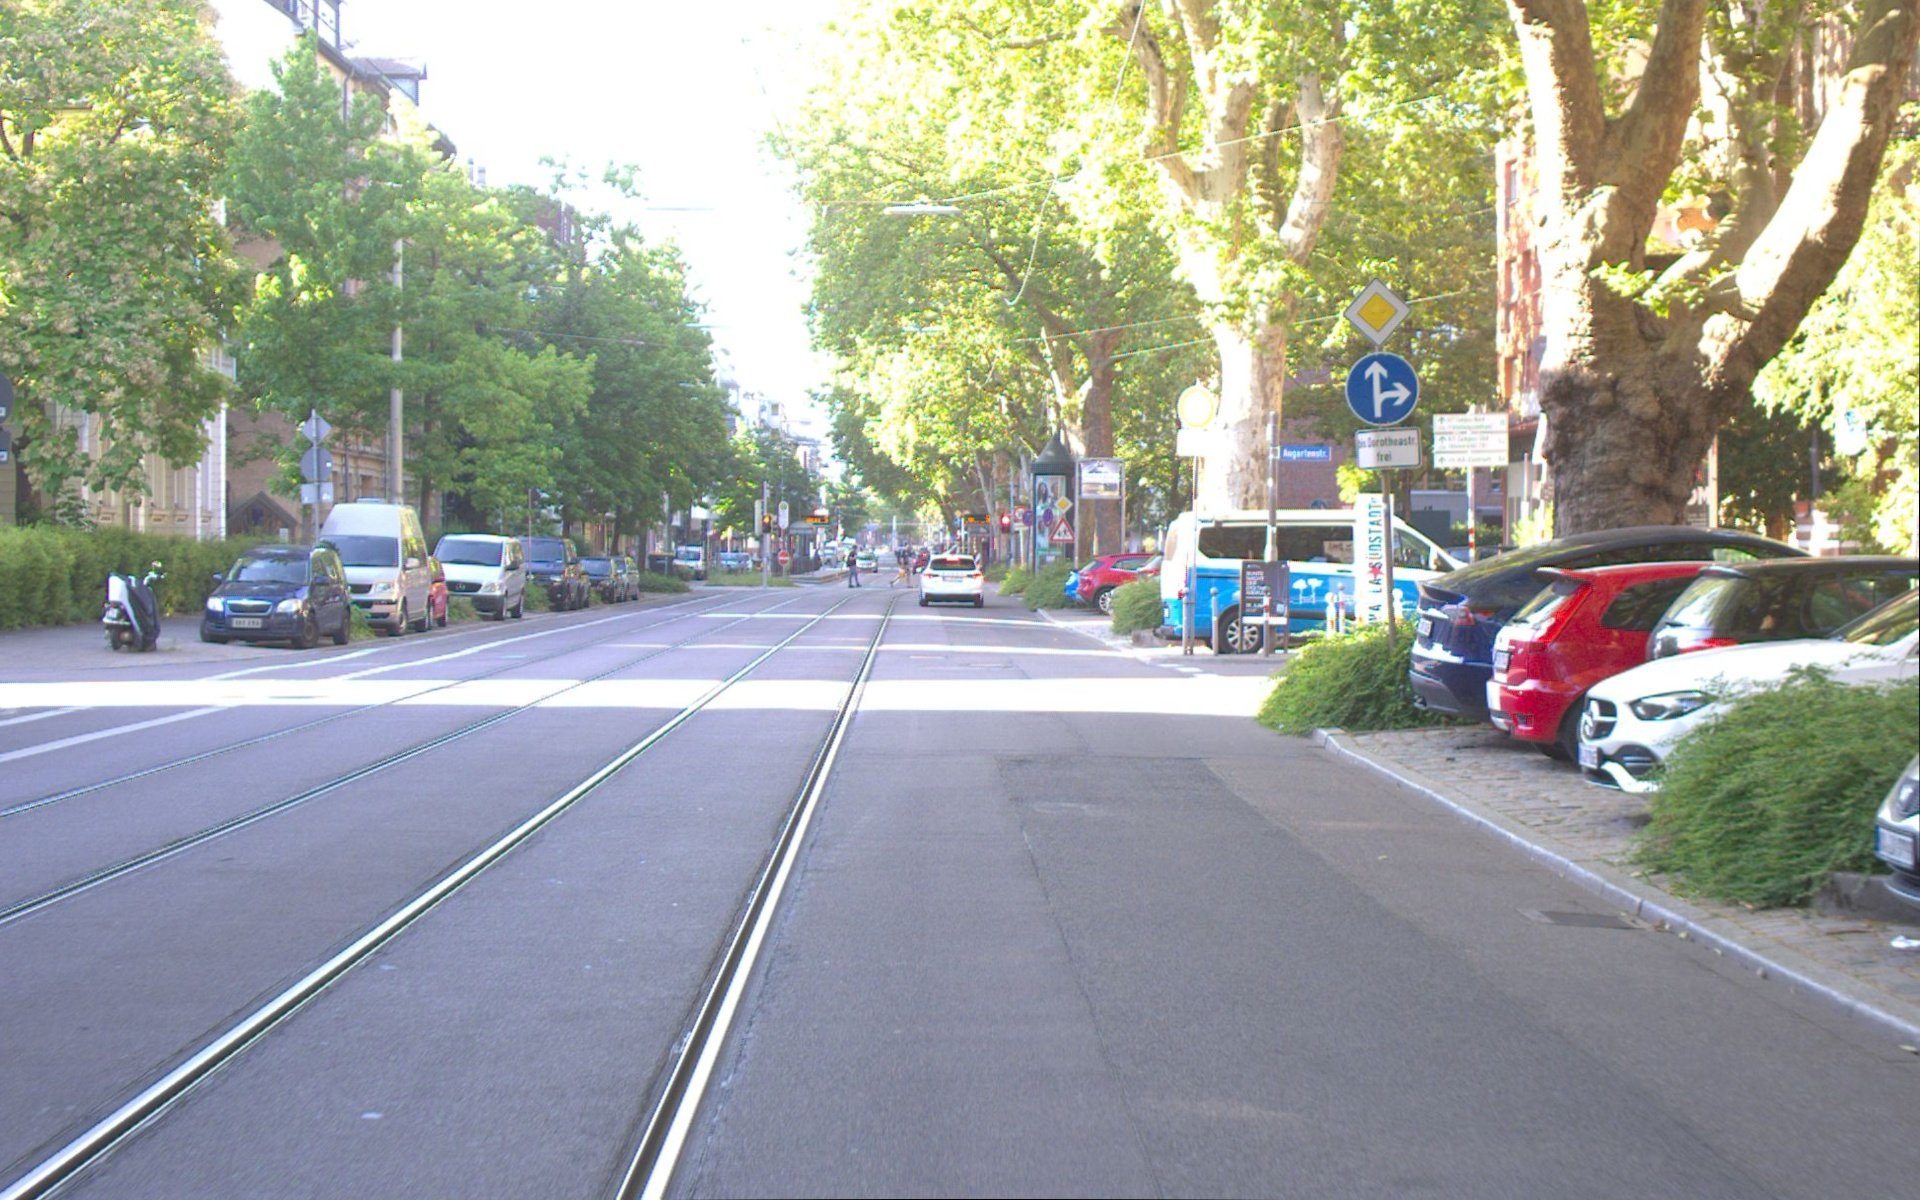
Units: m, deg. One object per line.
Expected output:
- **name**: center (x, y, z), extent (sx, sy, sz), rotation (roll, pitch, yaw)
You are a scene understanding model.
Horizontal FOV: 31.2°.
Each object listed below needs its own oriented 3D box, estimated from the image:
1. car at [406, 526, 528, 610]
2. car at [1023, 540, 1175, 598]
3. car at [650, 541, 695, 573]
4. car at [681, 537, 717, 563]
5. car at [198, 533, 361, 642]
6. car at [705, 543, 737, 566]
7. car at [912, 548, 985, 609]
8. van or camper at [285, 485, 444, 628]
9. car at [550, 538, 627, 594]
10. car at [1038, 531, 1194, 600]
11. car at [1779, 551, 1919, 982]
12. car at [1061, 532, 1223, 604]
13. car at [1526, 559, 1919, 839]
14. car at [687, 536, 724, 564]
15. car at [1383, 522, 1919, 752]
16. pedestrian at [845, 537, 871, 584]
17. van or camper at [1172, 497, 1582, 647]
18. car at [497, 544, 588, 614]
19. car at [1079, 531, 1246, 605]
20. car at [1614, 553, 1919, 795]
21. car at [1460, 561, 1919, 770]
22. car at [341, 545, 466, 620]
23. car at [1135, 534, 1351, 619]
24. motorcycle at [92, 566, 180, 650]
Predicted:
- **car**: center (-11.227, -0.744, 78.571), extent (2.173, 1.854, 4.659), rotation (0, 1, -1)
- **car**: center (3.720, -0.837, 92.373), extent (3.987, 1.515, 2.000), rotation (0, 1, 0)
- **car**: center (-13.124, -1.985, 157.093), extent (1.918, 1.414, 3.721), rotation (0, 1, -3)
- **car**: center (-14.362, -2.756, 189.503), extent (1.918, 1.414, 3.591), rotation (0, 1, -3)
- **car**: center (-10.774, -0.234, 54.665), extent (1.787, 1.581, 4.344), rotation (3, 1, -2)
- **car**: center (-14.706, -2.818, 211.600), extent (1.918, 1.414, 3.591), rotation (0, 1, -3)
- **car**: center (-0.328, -0.600, 93.917), extent (1.918, 1.579, 3.791), rotation (-1, 1, -1)
- **van or camper**: center (-10.998, -0.821, 63.890), extent (2.079, 2.524, 5.318), rotation (0, 1, -1)
- **car**: center (-11.746, -1.104, 108.909), extent (1.993, 1.739, 4.659), rotation (0, 1, -1)
- **car**: center (4.062, -0.917, 90.066), extent (3.987, 1.778, 2.000), rotation (0, 1, 0)
- **car**: center (5.375, 0.568, 12.958), extent (4.142, 1.504, 1.796), rotation (0, 1, 0)
- **car**: center (4.577, -0.824, 86.805), extent (3.987, 1.778, 2.000), rotation (0, 1, 0)
- **car**: center (5.610, 0.504, 18.887), extent (4.686, 1.441, 1.892), rotation (0, 1, 0)
- **car**: center (-14.359, -2.816, 193.749), extent (1.918, 1.414, 3.591), rotation (-2, 0, -6)
- **car**: center (5.302, 0.247, 25.975), extent (3.923, 1.664, 1.961), rotation (0, 1, -2)
- **pedestrian**: center (-4.333, -1.677, 146.351), extent (1.048, 2.007, 1.081), rotation (0, 1, 3)
- **van or camper**: center (5.995, -0.430, 49.884), extent (5.554, 2.006, 2.245), rotation (0, 4, -5)
- **car**: center (-11.266, -0.585, 92.991), extent (1.993, 1.854, 4.179), rotation (0, 1, -1)
- **car**: center (4.950, -0.790, 84.523), extent (3.987, 1.778, 2.000), rotation (0, 1, 0)
- **car**: center (6.175, 0.426, 21.342), extent (3.882, 1.430, 1.754), rotation (0, 1, 0)
- **car**: center (5.418, 0.424, 23.754), extent (3.650, 1.373, 1.890), rotation (0, 1, 0)
- **car**: center (-11.174, -0.383, 69.262), extent (1.876, 1.455, 4.207), rotation (0, 1, -1)
- **car**: center (5.437, -0.457, 66.449), extent (3.987, 1.603, 2.000), rotation (0, 1, 0)
- **motorcycle**: center (-12.100, 0.098, 50.551), extent (0.763, 1.103, 2.330), rotation (0, 3, -1)
